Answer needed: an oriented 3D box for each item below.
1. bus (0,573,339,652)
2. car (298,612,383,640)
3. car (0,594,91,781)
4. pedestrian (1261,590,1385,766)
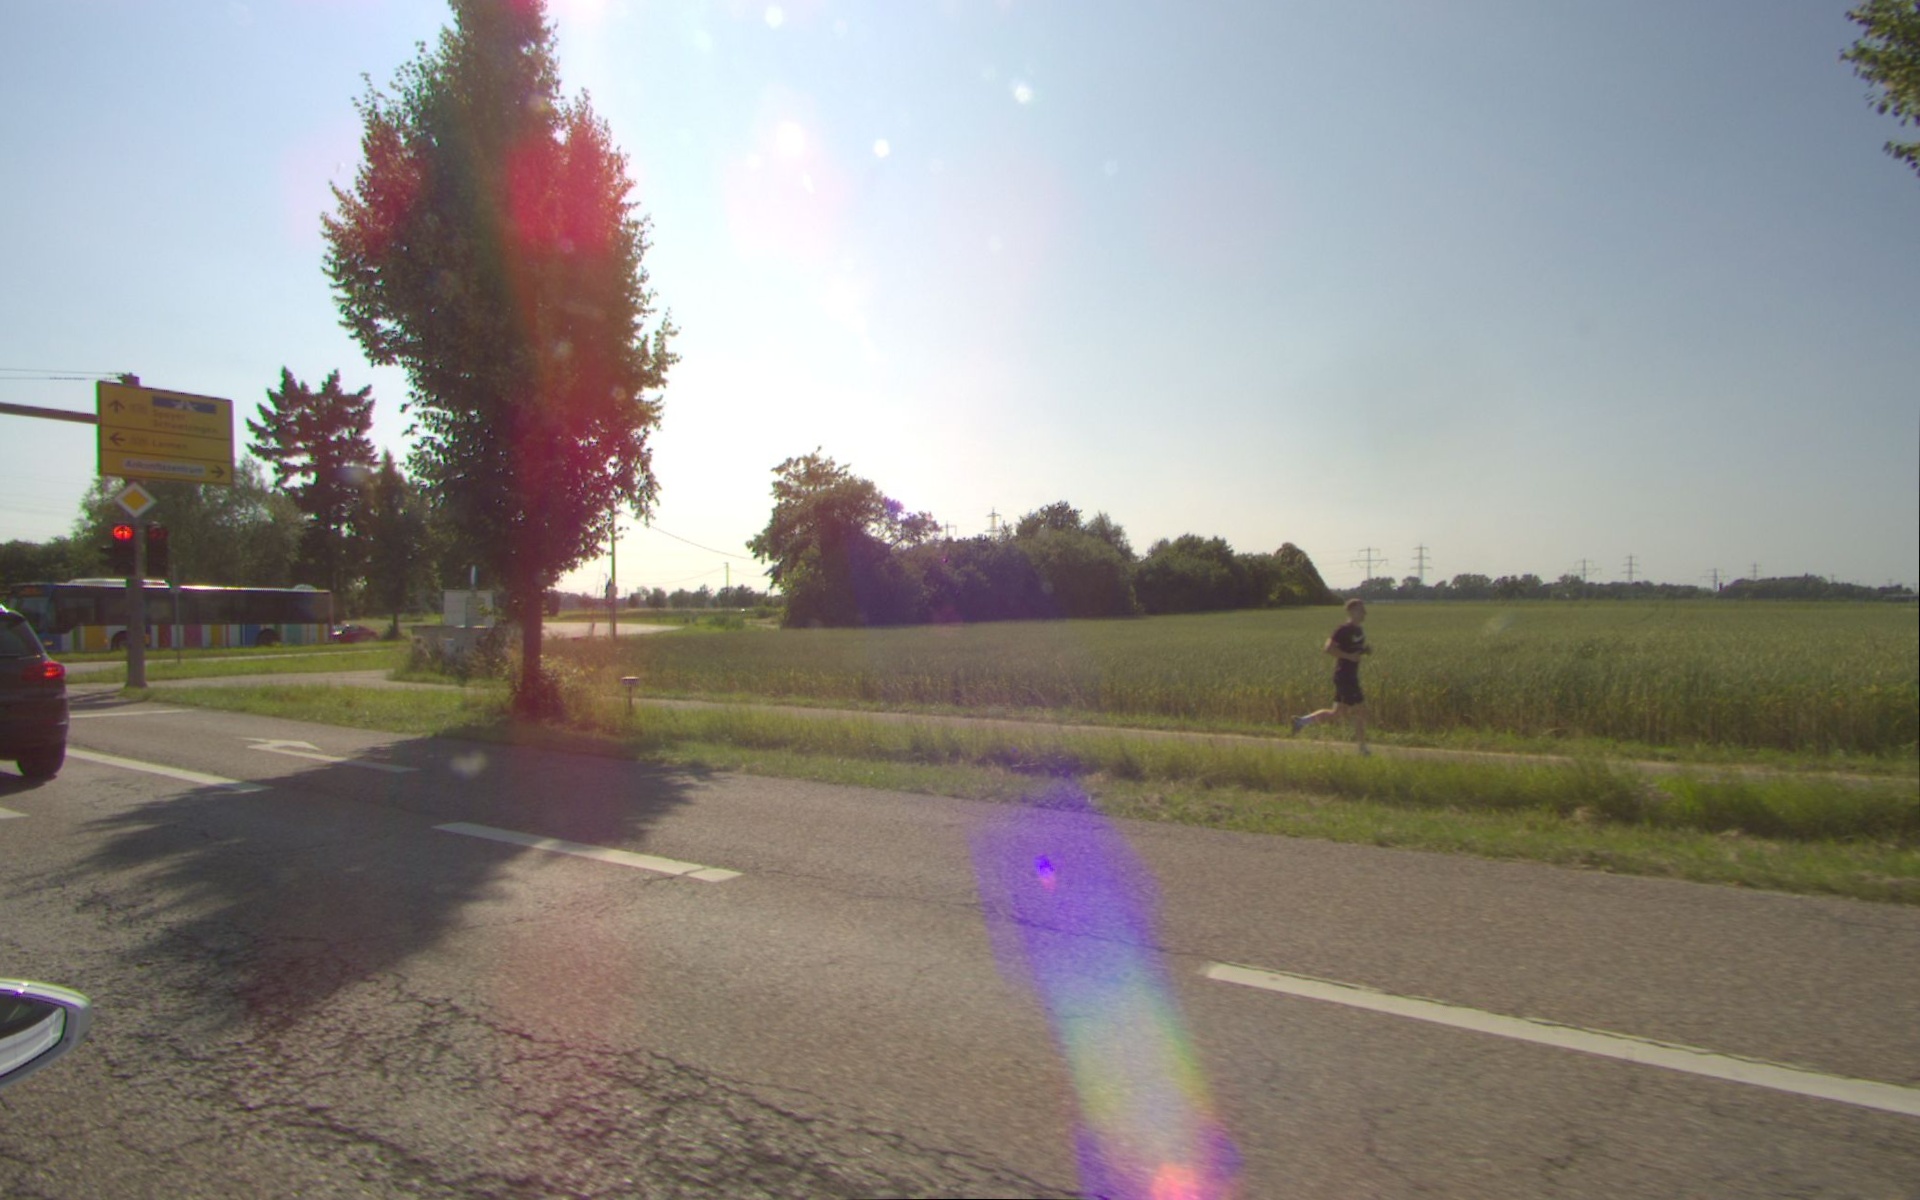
[{"bbox_3d":[-33.380,0.470,43.414,2.889,2.915,11.957,0,0,17],"label":"bus"},{"bbox_3d":[-33.750,1.386,54.699,1.649,1.416,3.997,0,0,11],"label":"car"},{"bbox_3d":[-10.444,0.791,9.825,4.086,1.676,1.753,0,-2,32],"label":"car"},{"bbox_3d":[4.102,0.835,11.305,1.177,1.863,0.900,0,0,30],"label":"pedestrian"}]
